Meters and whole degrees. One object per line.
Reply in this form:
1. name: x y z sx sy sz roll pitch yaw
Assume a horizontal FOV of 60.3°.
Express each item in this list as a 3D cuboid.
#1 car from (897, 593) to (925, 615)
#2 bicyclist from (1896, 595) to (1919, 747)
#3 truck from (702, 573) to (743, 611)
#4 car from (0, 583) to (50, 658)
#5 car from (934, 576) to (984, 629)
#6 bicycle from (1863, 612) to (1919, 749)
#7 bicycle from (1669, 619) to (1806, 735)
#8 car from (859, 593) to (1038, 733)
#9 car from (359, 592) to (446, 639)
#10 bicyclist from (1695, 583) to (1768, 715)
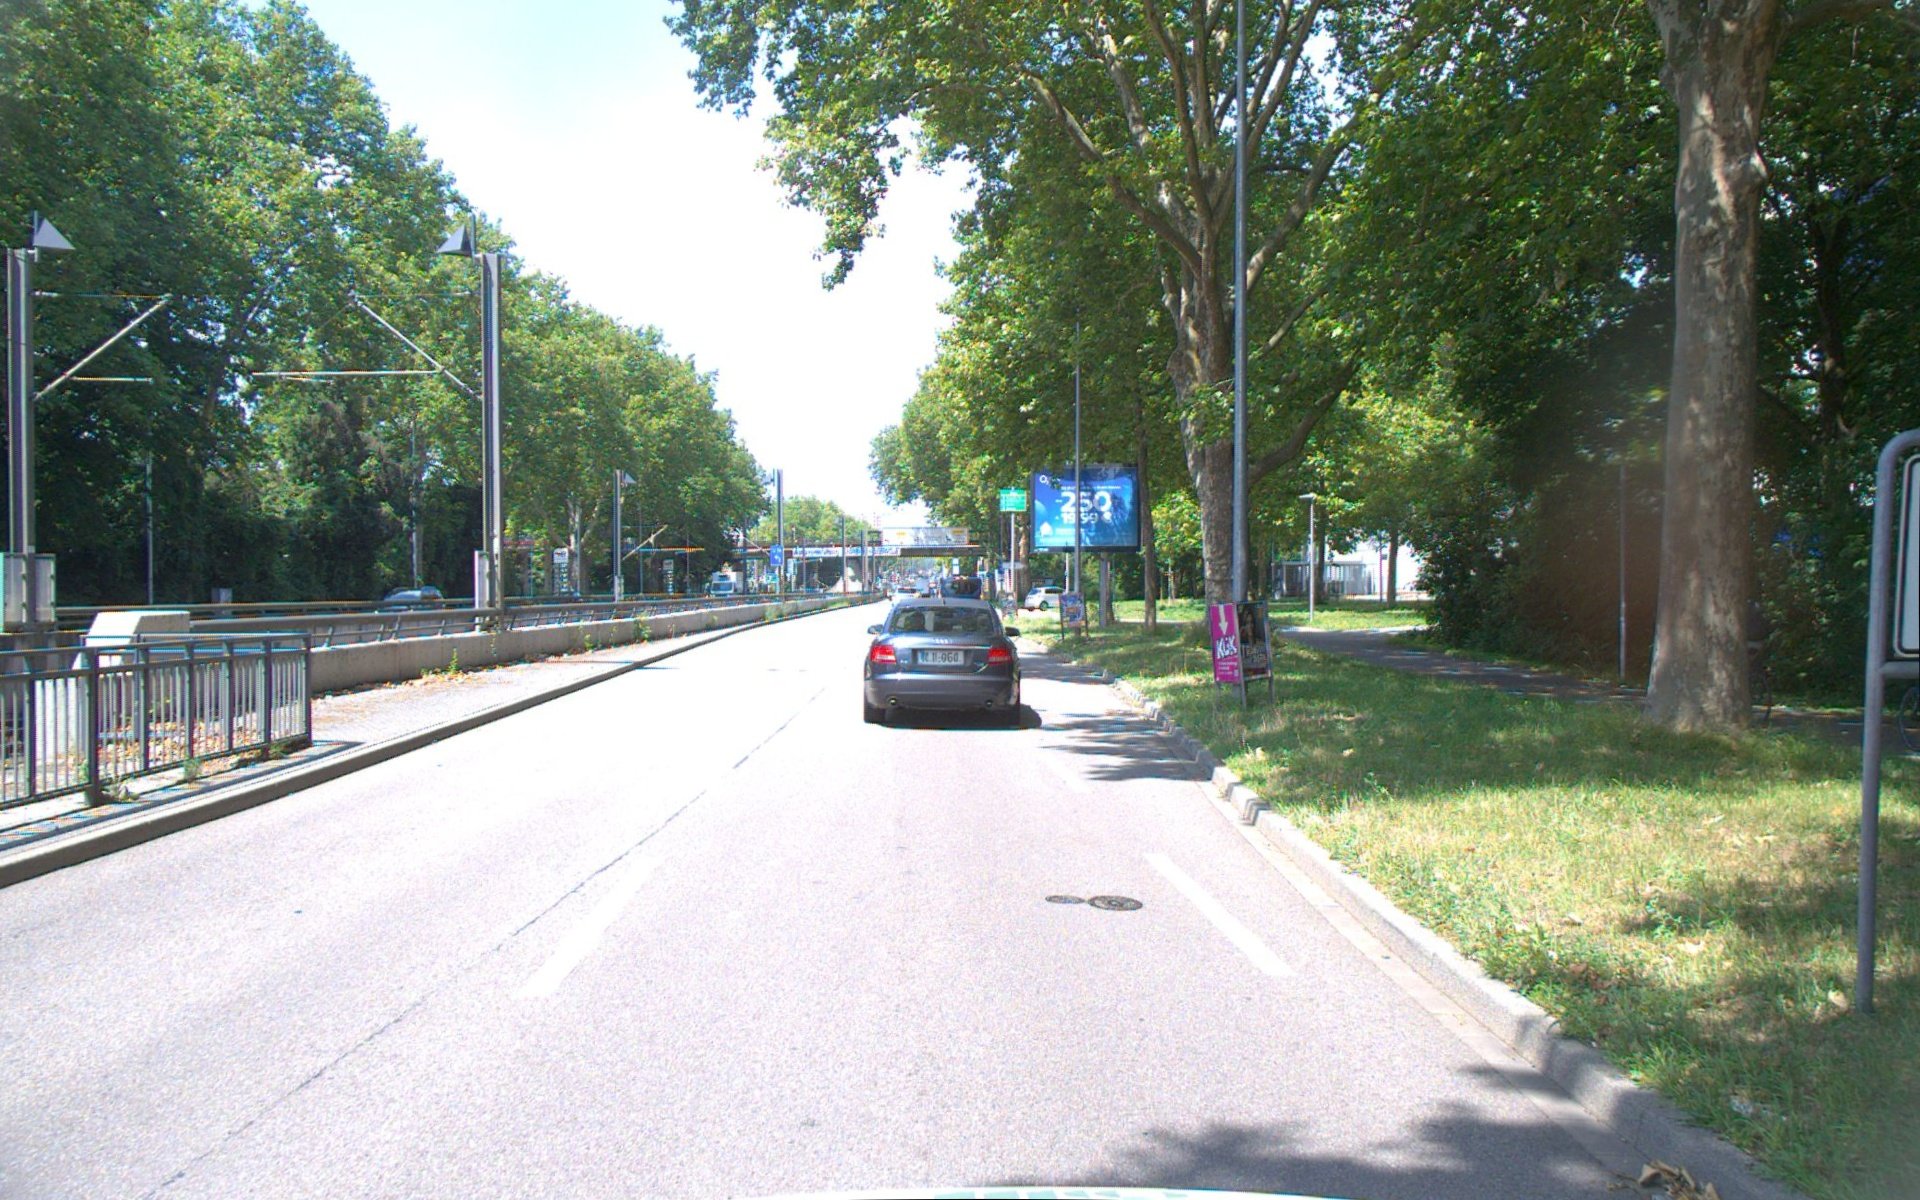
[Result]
1. car: -3.298 0.261 110.251 1.808 1.489 3.998 0 0 -2
2. bicyclist: 10.582 0.757 17.605 0.645 1.627 1.053 0 0 0
3. truck: -19.744 -0.650 137.819 2.932 3.073 7.992 0 0 -5
4. car: -22.838 0.476 37.666 1.708 1.713 4.385 0 0 1
5. car: -0.002 0.086 64.503 1.810 1.993 4.145 1 0 1
6. bicycle: 10.583 0.874 17.463 0.598 1.444 2.661 0 0 -1
7. bicycle: 10.667 1.011 22.806 0.598 1.444 2.661 0 0 -1
8. car: -0.238 0.671 19.880 1.807 1.510 3.995 0 0 -6
9. car: -22.318 0.586 66.393 1.829 1.713 4.385 3 0 1
10. bicyclist: 10.589 0.658 22.721 0.585 1.776 0.843 1 0 -1
